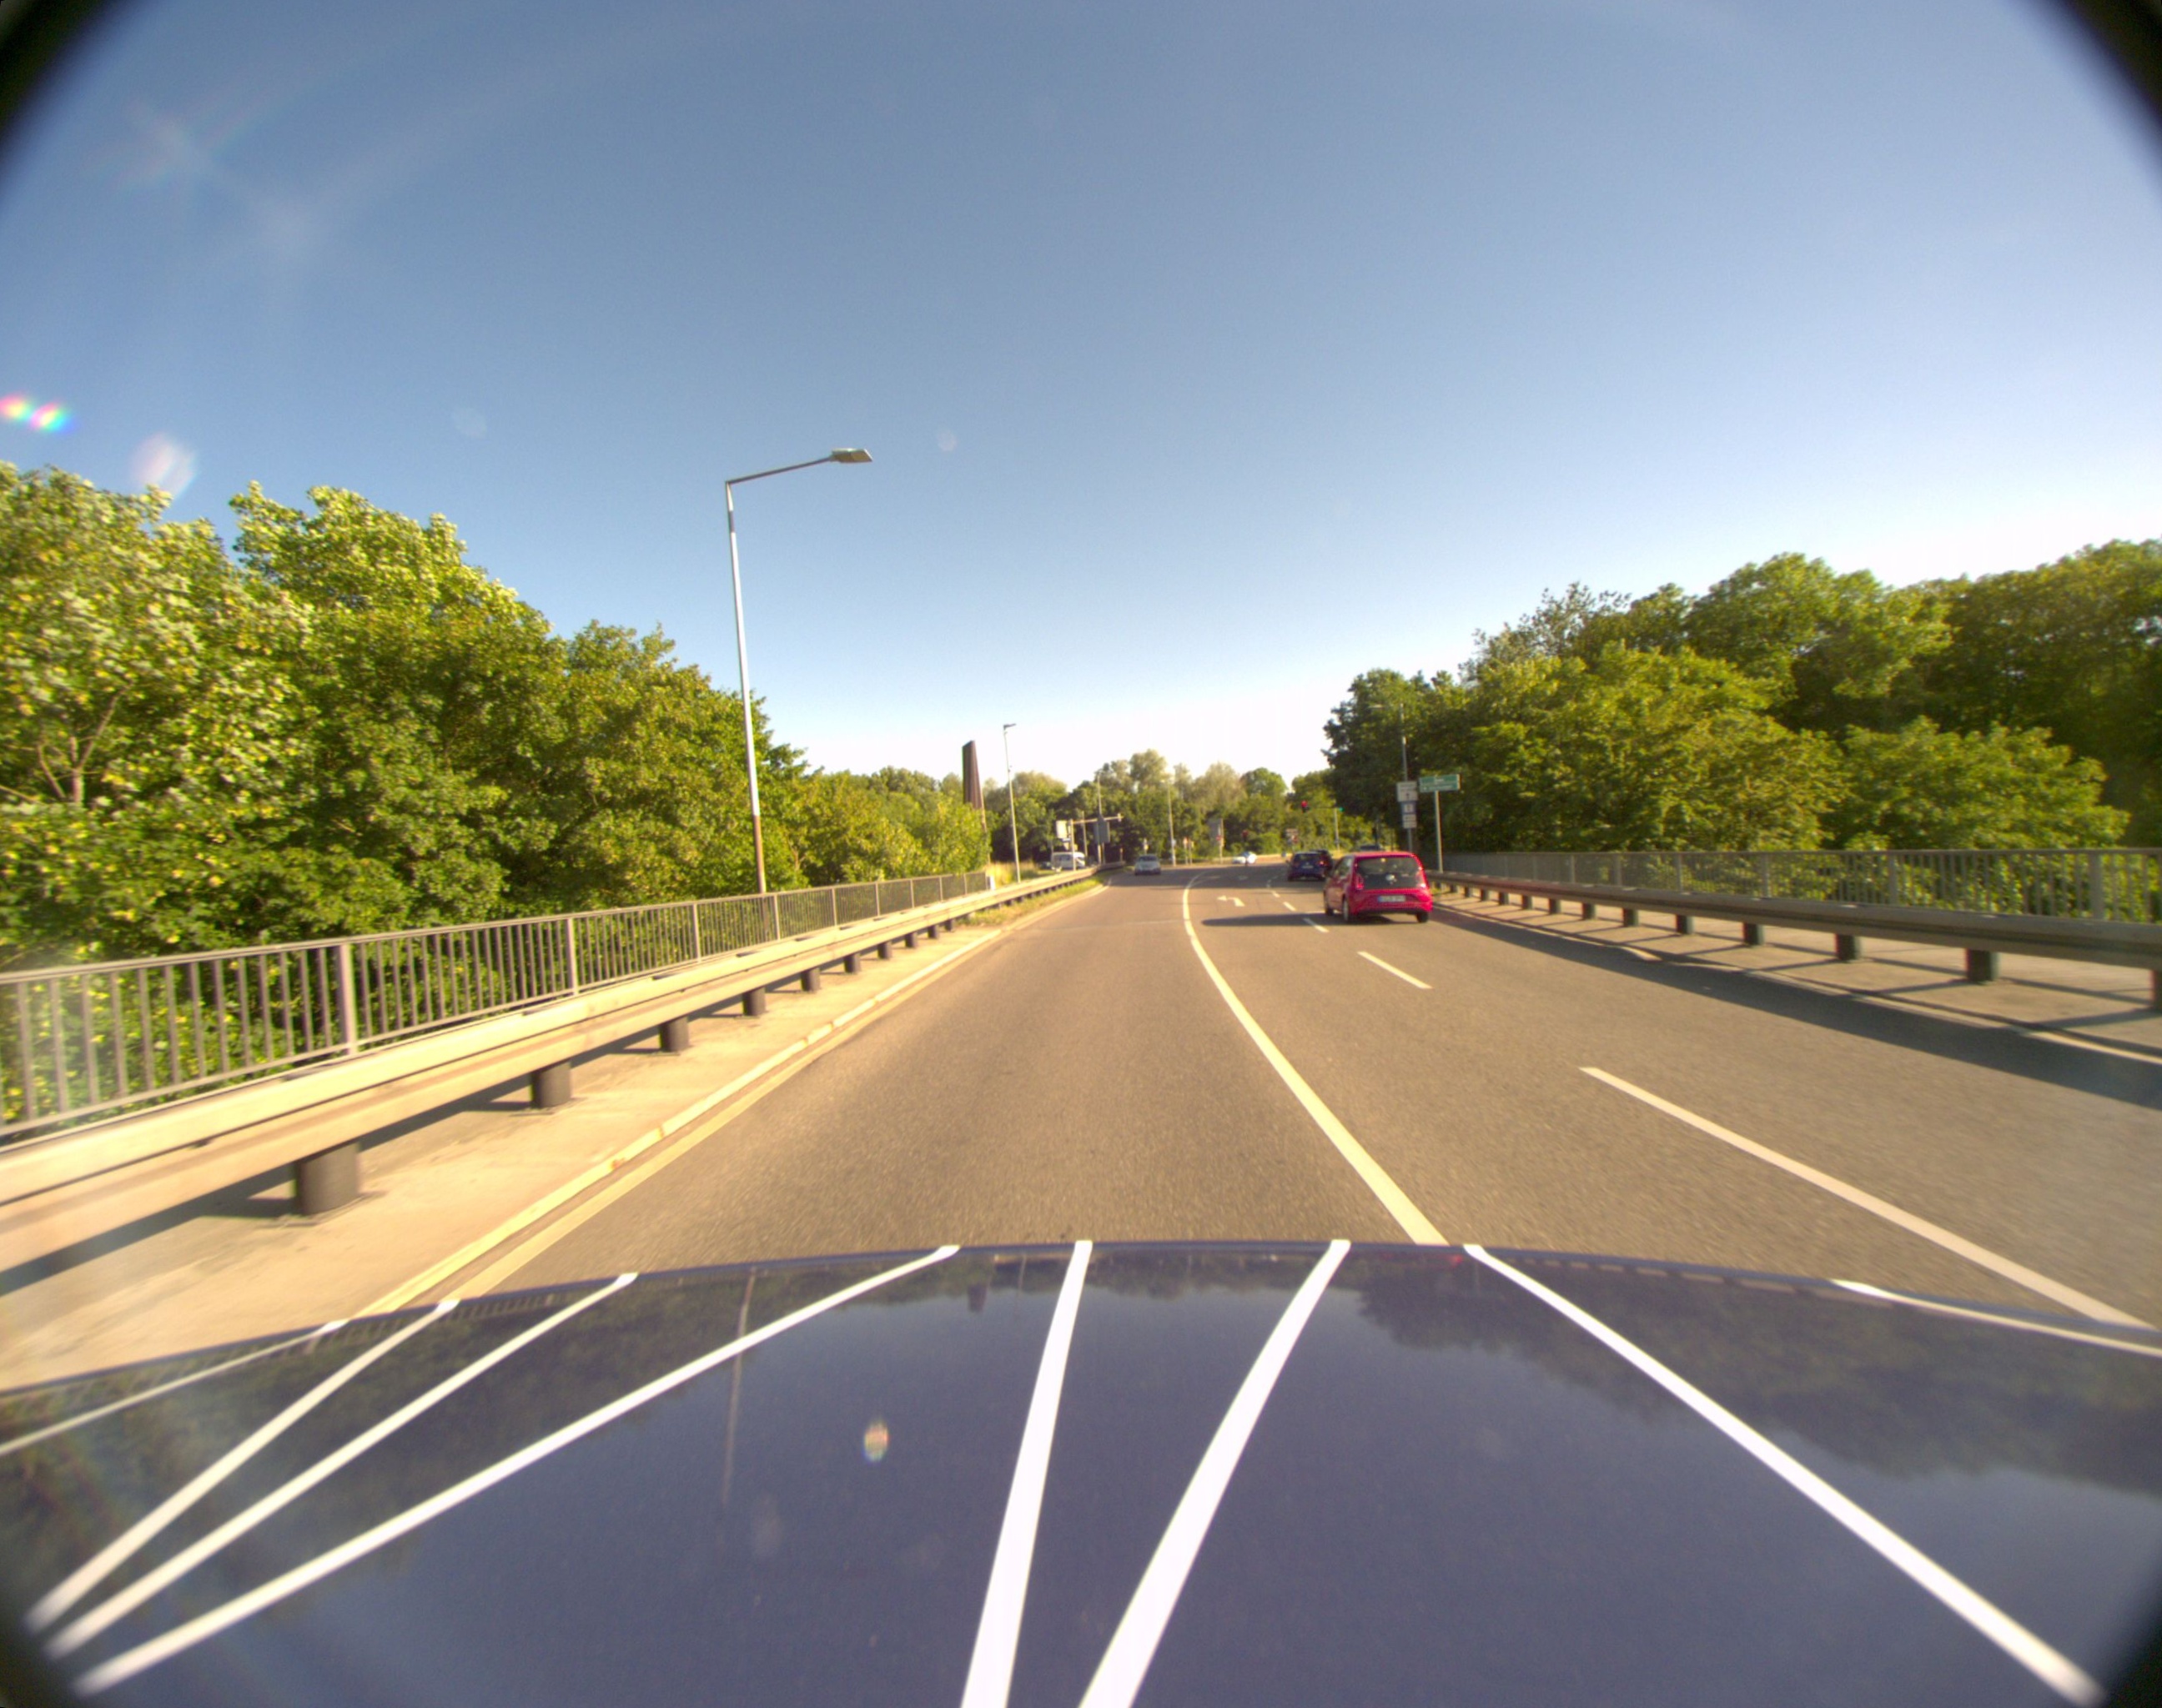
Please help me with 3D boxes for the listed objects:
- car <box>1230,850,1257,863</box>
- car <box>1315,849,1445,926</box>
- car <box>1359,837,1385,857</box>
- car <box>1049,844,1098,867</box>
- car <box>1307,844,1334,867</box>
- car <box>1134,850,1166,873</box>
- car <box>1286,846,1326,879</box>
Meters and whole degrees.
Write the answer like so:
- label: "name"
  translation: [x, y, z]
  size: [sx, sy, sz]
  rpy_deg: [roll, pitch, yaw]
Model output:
- label: "car"
  translation: [20.425, 0.332, 95.372]
  size: [1.989, 1.465, 4.137]
  rpy_deg: [-1, 1, 34]
- label: "car"
  translation: [6.370, 0.645, 16.637]
  size: [1.785, 1.429, 3.877]
  rpy_deg: [-1, 1, 8]
- label: "car"
  translation: [32.457, -0.784, 84.574]
  size: [1.950, 2.100, 5.280]
  rpy_deg: [0, 1, 30]
- label: "car"
  translation: [-0.932, 0.194, 90.073]
  size: [5.691, 2.484, 2.119]
  rpy_deg: [-4, 0, 40]
- label: "car"
  translation: [18.086, 0.068, 57.457]
  size: [1.806, 1.628, 4.004]
  rpy_deg: [-2, 1, 16]
- label: "car"
  translation: [4.958, 0.517, 54.167]
  size: [1.763, 1.428, 4.333]
  rpy_deg: [-2, 1, 11]
- label: "car"
  translation: [11.273, 0.383, 38.214]
  size: [1.726, 1.478, 4.411]
  rpy_deg: [-1, 1, 14]
